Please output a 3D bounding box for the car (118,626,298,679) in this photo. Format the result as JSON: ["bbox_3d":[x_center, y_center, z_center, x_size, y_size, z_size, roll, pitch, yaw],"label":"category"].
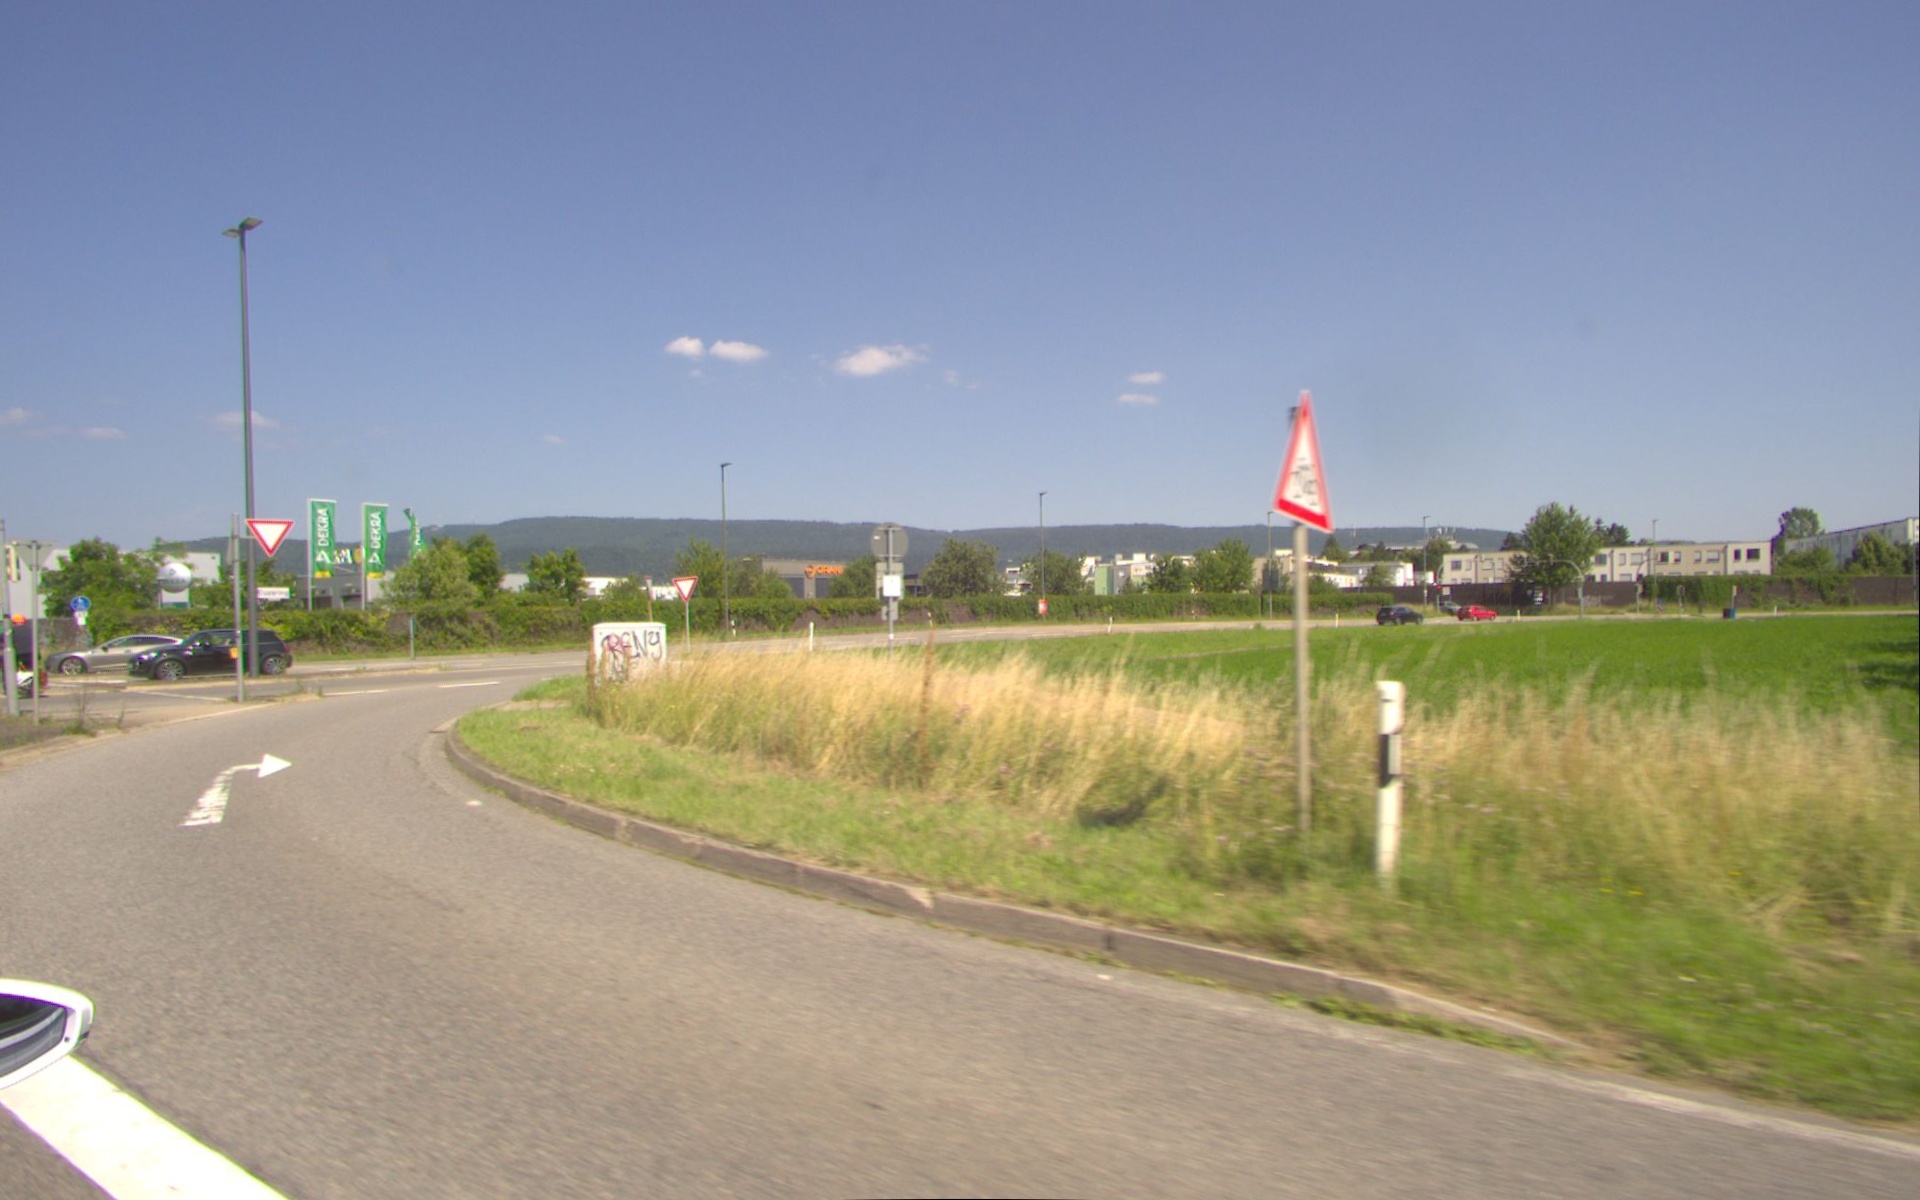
[{"bbox_3d":[-21.870,1.481,29.202,1.787,1.344,3.964,-1,0,44],"label":"car"}]

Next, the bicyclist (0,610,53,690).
[{"bbox_3d":[-21.360,1.121,22.834,0.797,1.795,0.800,0,0,32],"label":"bicyclist"}]

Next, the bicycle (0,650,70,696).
[{"bbox_3d":[-21.264,1.637,22.789,2.740,0.927,0.760,-1,0,32],"label":"bicycle"}]

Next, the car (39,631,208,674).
[{"bbox_3d":[-29.375,1.812,35.354,4.318,1.344,1.796,0,0,-32],"label":"car"}]

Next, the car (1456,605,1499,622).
[{"bbox_3d":[49.389,1.245,95.635,3.941,1.567,1.766,-1,0,-29],"label":"car"}]

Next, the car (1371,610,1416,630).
[{"bbox_3d":[37.143,1.706,85.801,4.294,1.638,1.982,0,0,-42],"label":"car"}]
